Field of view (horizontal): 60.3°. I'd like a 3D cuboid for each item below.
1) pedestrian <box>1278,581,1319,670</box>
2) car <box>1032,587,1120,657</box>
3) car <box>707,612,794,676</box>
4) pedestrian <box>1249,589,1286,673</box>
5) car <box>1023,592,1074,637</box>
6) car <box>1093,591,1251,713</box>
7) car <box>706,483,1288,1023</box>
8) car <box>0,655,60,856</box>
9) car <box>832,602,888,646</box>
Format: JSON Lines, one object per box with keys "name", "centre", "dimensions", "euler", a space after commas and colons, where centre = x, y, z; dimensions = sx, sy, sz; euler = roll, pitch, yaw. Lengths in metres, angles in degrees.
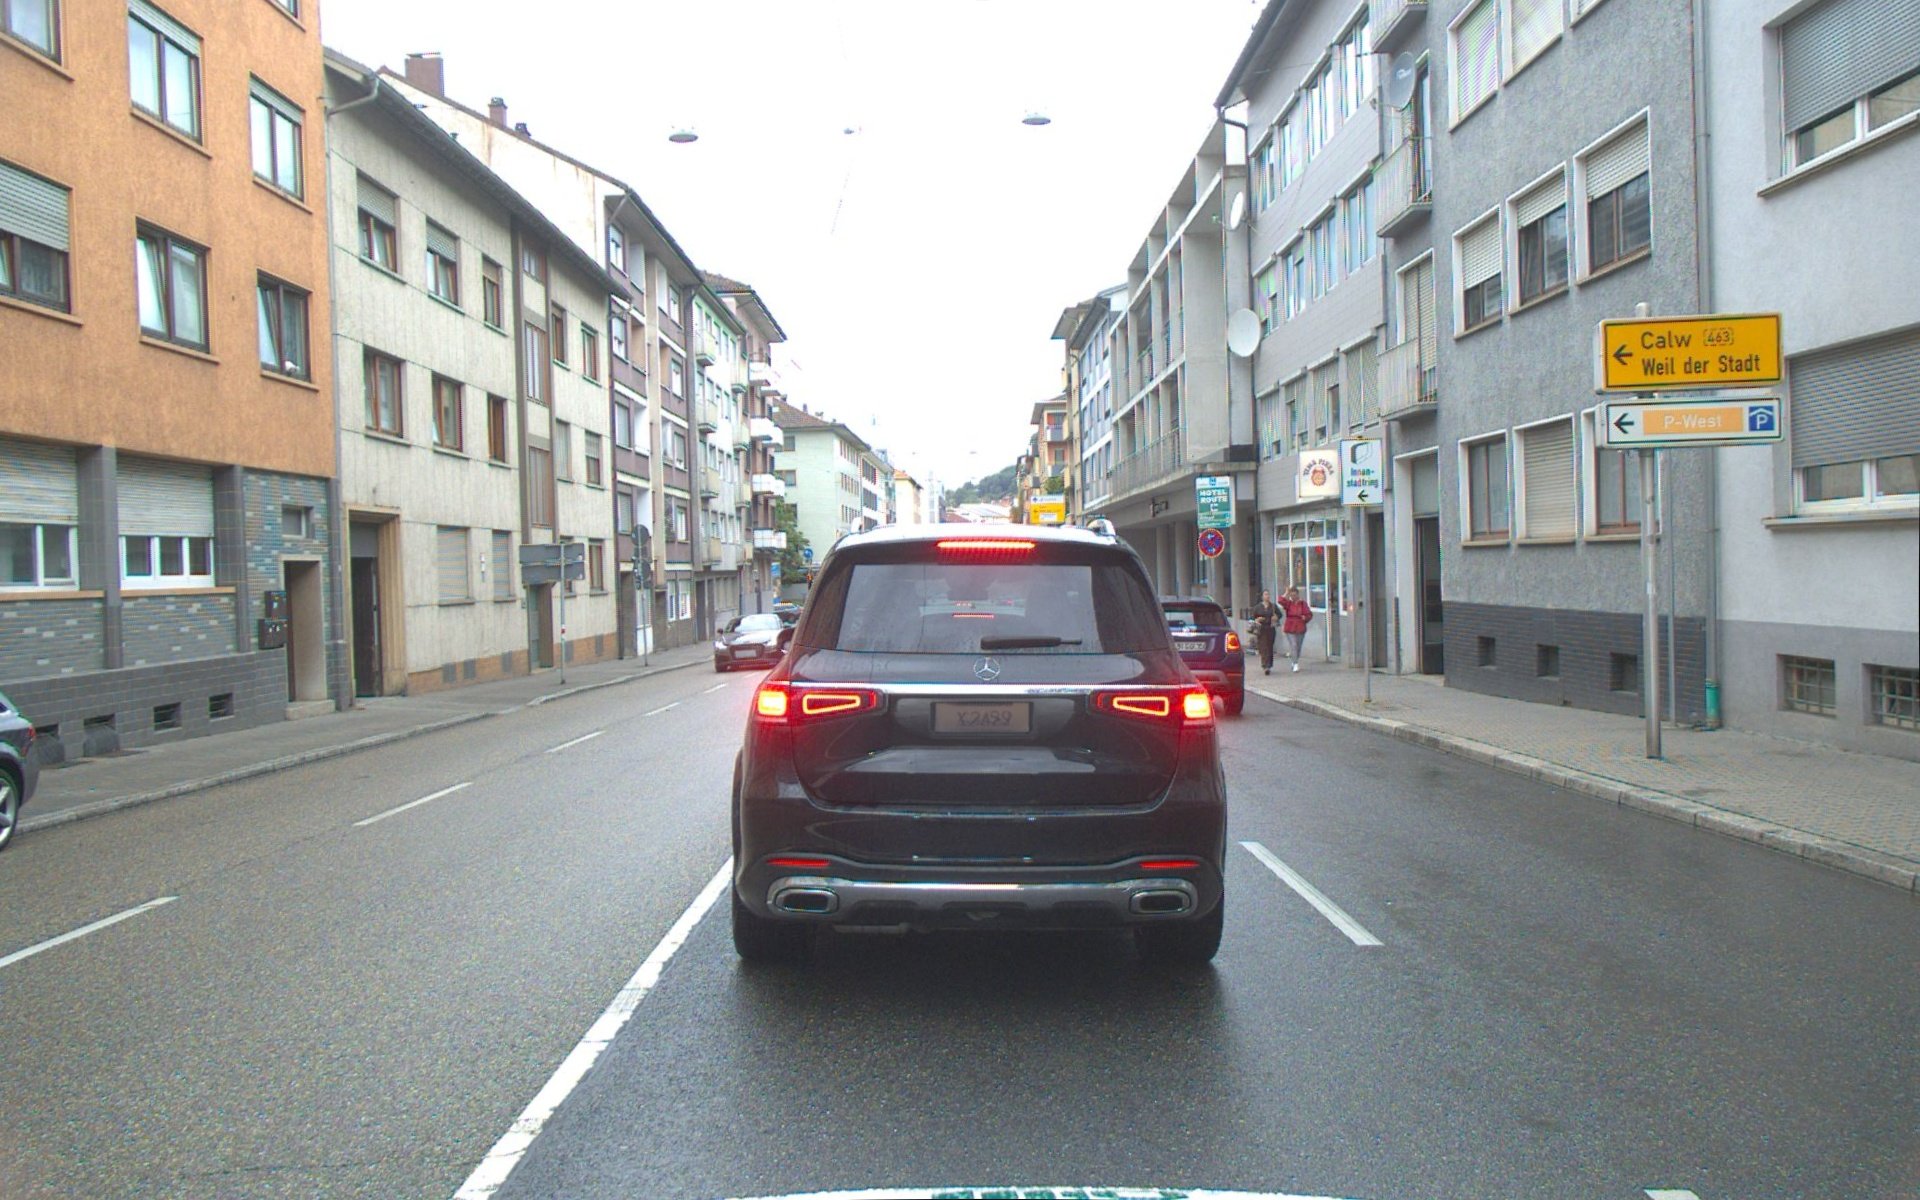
{"name": "pedestrian", "centre": [6.353, 0.475, 31.058], "dimensions": [0.549, 1.606, 0.526], "euler": [-4, 0, 0]}
{"name": "car", "centre": [3.103, 0.568, 45.165], "dimensions": [1.901, 1.806, 4.744], "euler": [0, 0, -2]}
{"name": "car", "centre": [-5.317, 1.082, 42.345], "dimensions": [1.732, 1.369, 3.887], "euler": [-5, 0, -1]}
{"name": "pedestrian", "centre": [5.773, 0.572, 31.068], "dimensions": [0.496, 1.526, 0.562], "euler": [-4, 0, -2]}
{"name": "car", "centre": [3.296, 0.517, 62.386], "dimensions": [1.771, 1.634, 4.212], "euler": [0, 0, 1]}
{"name": "car", "centre": [2.995, 0.691, 24.110], "dimensions": [1.731, 1.608, 3.999], "euler": [0, 0, -1]}
{"name": "car", "centre": [0.087, 0.529, 7.724], "dimensions": [1.984, 1.837, 3.999], "euler": [1, 0, -1]}
{"name": "car", "centre": [-7.970, 1.162, 10.812], "dimensions": [1.759, 1.463, 4.525], "euler": [1, 0, -1]}
{"name": "car", "centre": [-3.514, 0.812, 58.674], "dimensions": [1.690, 1.414, 4.338], "euler": [-3, 0, -1]}
